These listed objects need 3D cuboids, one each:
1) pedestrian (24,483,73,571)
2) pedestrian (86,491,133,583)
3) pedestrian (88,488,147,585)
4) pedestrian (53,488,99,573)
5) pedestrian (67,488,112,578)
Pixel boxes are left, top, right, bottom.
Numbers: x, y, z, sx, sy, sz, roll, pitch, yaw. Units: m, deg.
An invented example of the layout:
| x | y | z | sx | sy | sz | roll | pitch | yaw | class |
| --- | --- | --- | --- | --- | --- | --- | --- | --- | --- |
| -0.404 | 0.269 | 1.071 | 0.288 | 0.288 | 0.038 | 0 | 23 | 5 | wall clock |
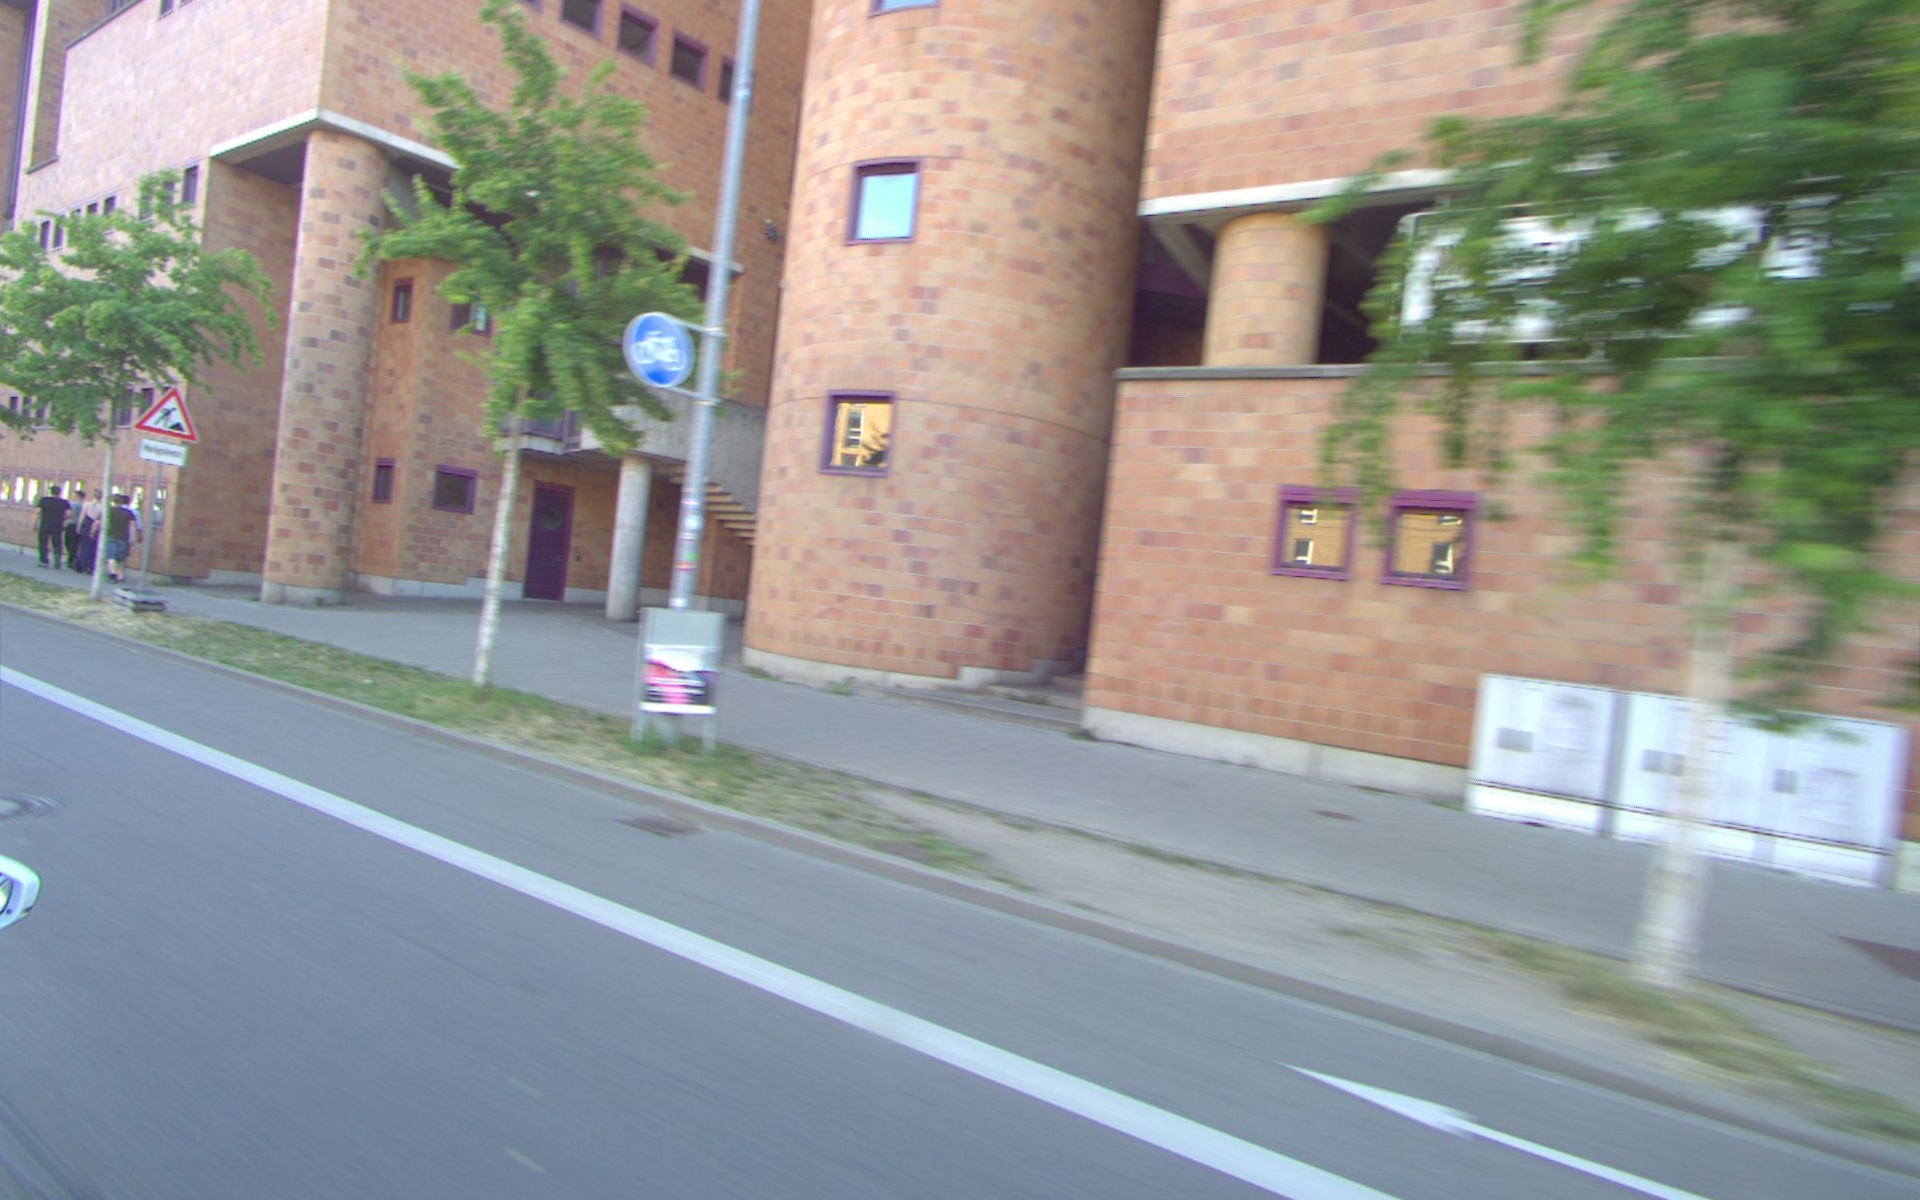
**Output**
| x | y | z | sx | sy | sz | roll | pitch | yaw | class |
| --- | --- | --- | --- | --- | --- | --- | --- | --- | --- |
| -19.232 | -1.535 | 21.230 | 0.457 | 1.778 | 0.537 | 7 | 1 | 32 | pedestrian |
| -17.101 | -1.267 | 20.221 | 0.686 | 1.778 | 0.535 | 7 | 1 | 43 | pedestrian |
| -16.414 | -1.227 | 19.594 | 0.730 | 1.778 | 0.687 | 6 | 1 | -43 | pedestrian |
| -19.358 | -1.513 | 22.037 | 0.415 | 1.778 | 0.537 | 7 | 1 | 32 | pedestrian |
| -18.091 | -1.397 | 20.905 | 0.686 | 1.778 | 0.535 | 7 | 1 | 43 | pedestrian |
